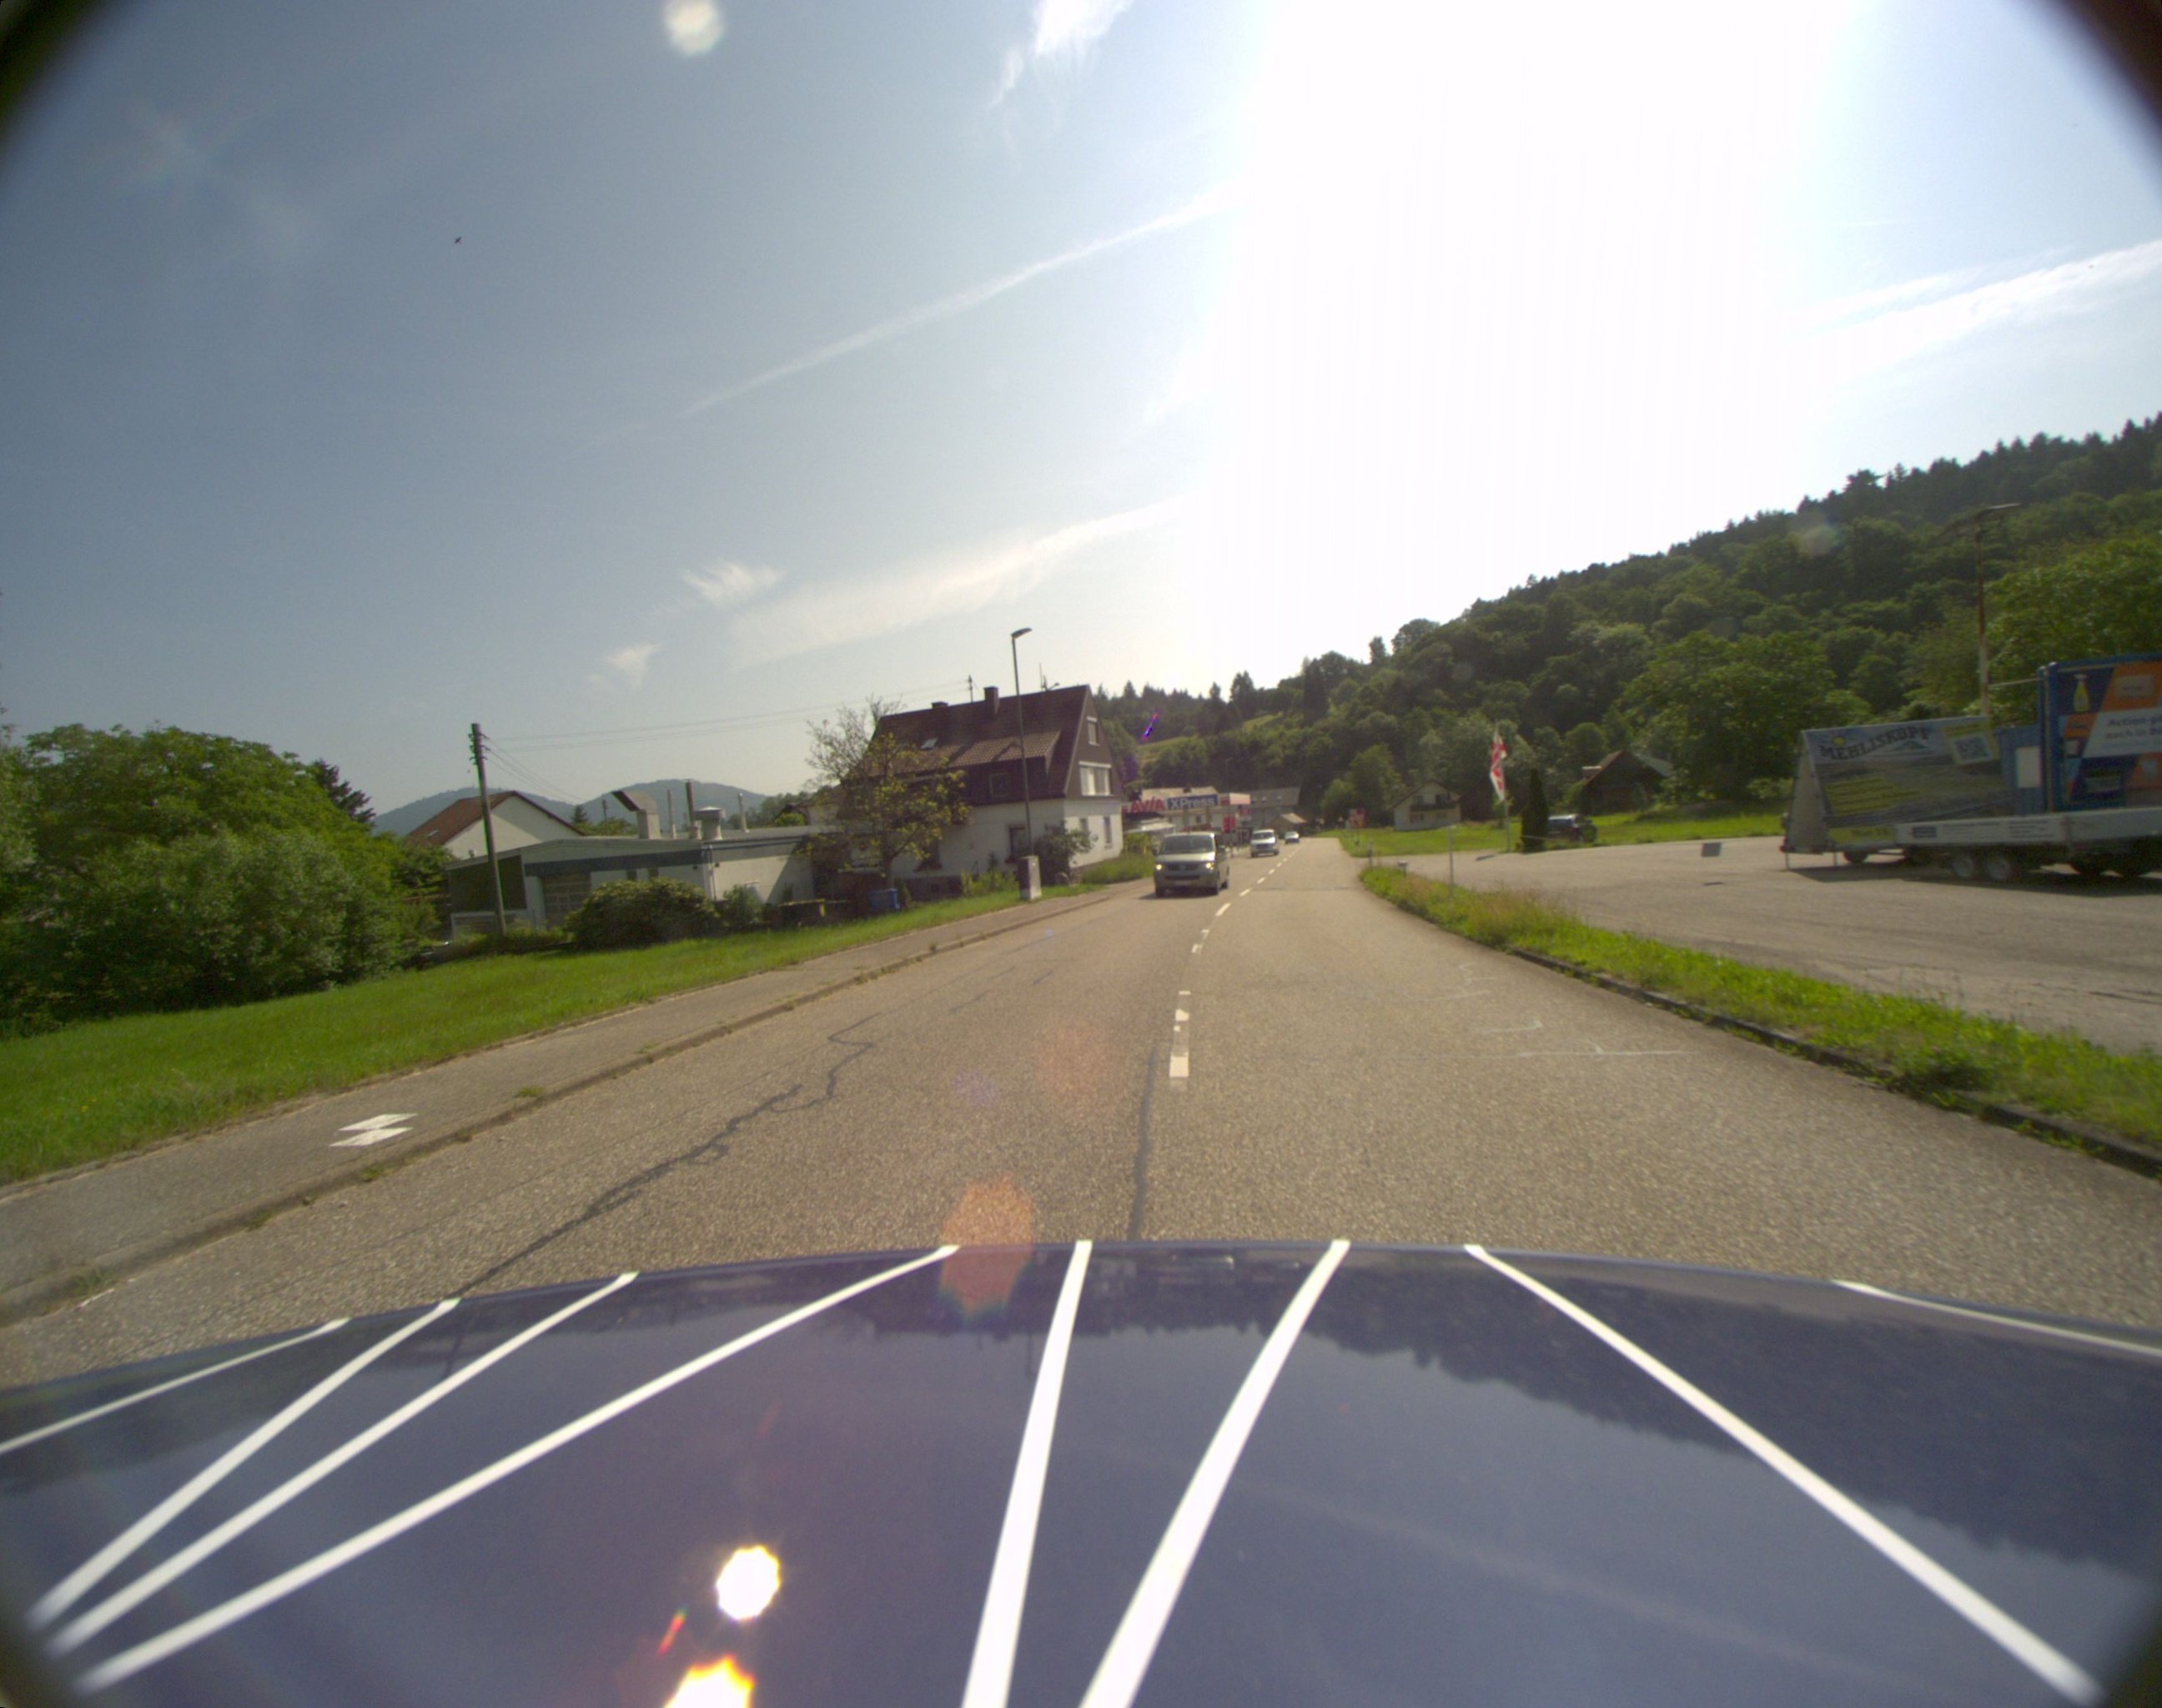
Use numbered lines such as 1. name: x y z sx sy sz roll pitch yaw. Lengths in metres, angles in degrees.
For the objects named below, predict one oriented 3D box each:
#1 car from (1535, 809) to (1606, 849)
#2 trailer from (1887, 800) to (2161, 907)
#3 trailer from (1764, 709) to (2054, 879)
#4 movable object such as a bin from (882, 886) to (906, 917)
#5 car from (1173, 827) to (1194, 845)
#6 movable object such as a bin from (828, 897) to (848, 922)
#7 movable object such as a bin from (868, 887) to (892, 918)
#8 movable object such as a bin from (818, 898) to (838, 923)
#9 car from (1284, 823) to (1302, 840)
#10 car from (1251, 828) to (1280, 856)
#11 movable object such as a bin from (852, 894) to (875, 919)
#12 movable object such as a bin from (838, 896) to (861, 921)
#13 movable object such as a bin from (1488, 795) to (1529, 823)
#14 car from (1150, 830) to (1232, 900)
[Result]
1. car: 24.480 -1.284 37.947 4.916 1.639 1.831 -5 1 -44
2. trailer: 15.071 -0.085 10.938 1.997 1.219 5.550 -5 1 13
3. trailer: 16.603 -1.136 15.452 3.397 2.895 1.885 -5 1 11
4. movable object such as a bin: -7.453 1.878 30.323 0.569 1.112 0.793 -6 2 9
5. car: 11.981 -2.106 88.597 1.682 1.806 4.003 -6 2 18
6. movable object such as a bin: -9.801 2.235 30.663 0.419 0.895 0.586 -6 2 9
7. movable object such as a bin: -8.038 1.940 30.404 0.569 1.112 0.799 -6 2 9
8. movable object such as a bin: -10.225 2.279 30.734 0.419 0.895 0.586 -6 2 9
9. car: 26.339 -2.805 94.447 1.765 1.736 3.983 -5 3 20
10. car: 13.726 -0.916 56.443 1.894 1.847 4.707 -4 1 14
11. movable object such as a bin: -8.727 2.122 30.496 0.569 0.895 0.586 -6 2 9
12. movable object such as a bin: -9.308 2.183 30.577 0.569 0.895 0.586 -6 2 9
13. movable object such as a bin: 53.071 -5.588 94.406 4.182 3.120 2.206 -4 1 32
14. car: 3.650 0.248 24.307 2.021 1.971 5.052 -1 2 14
